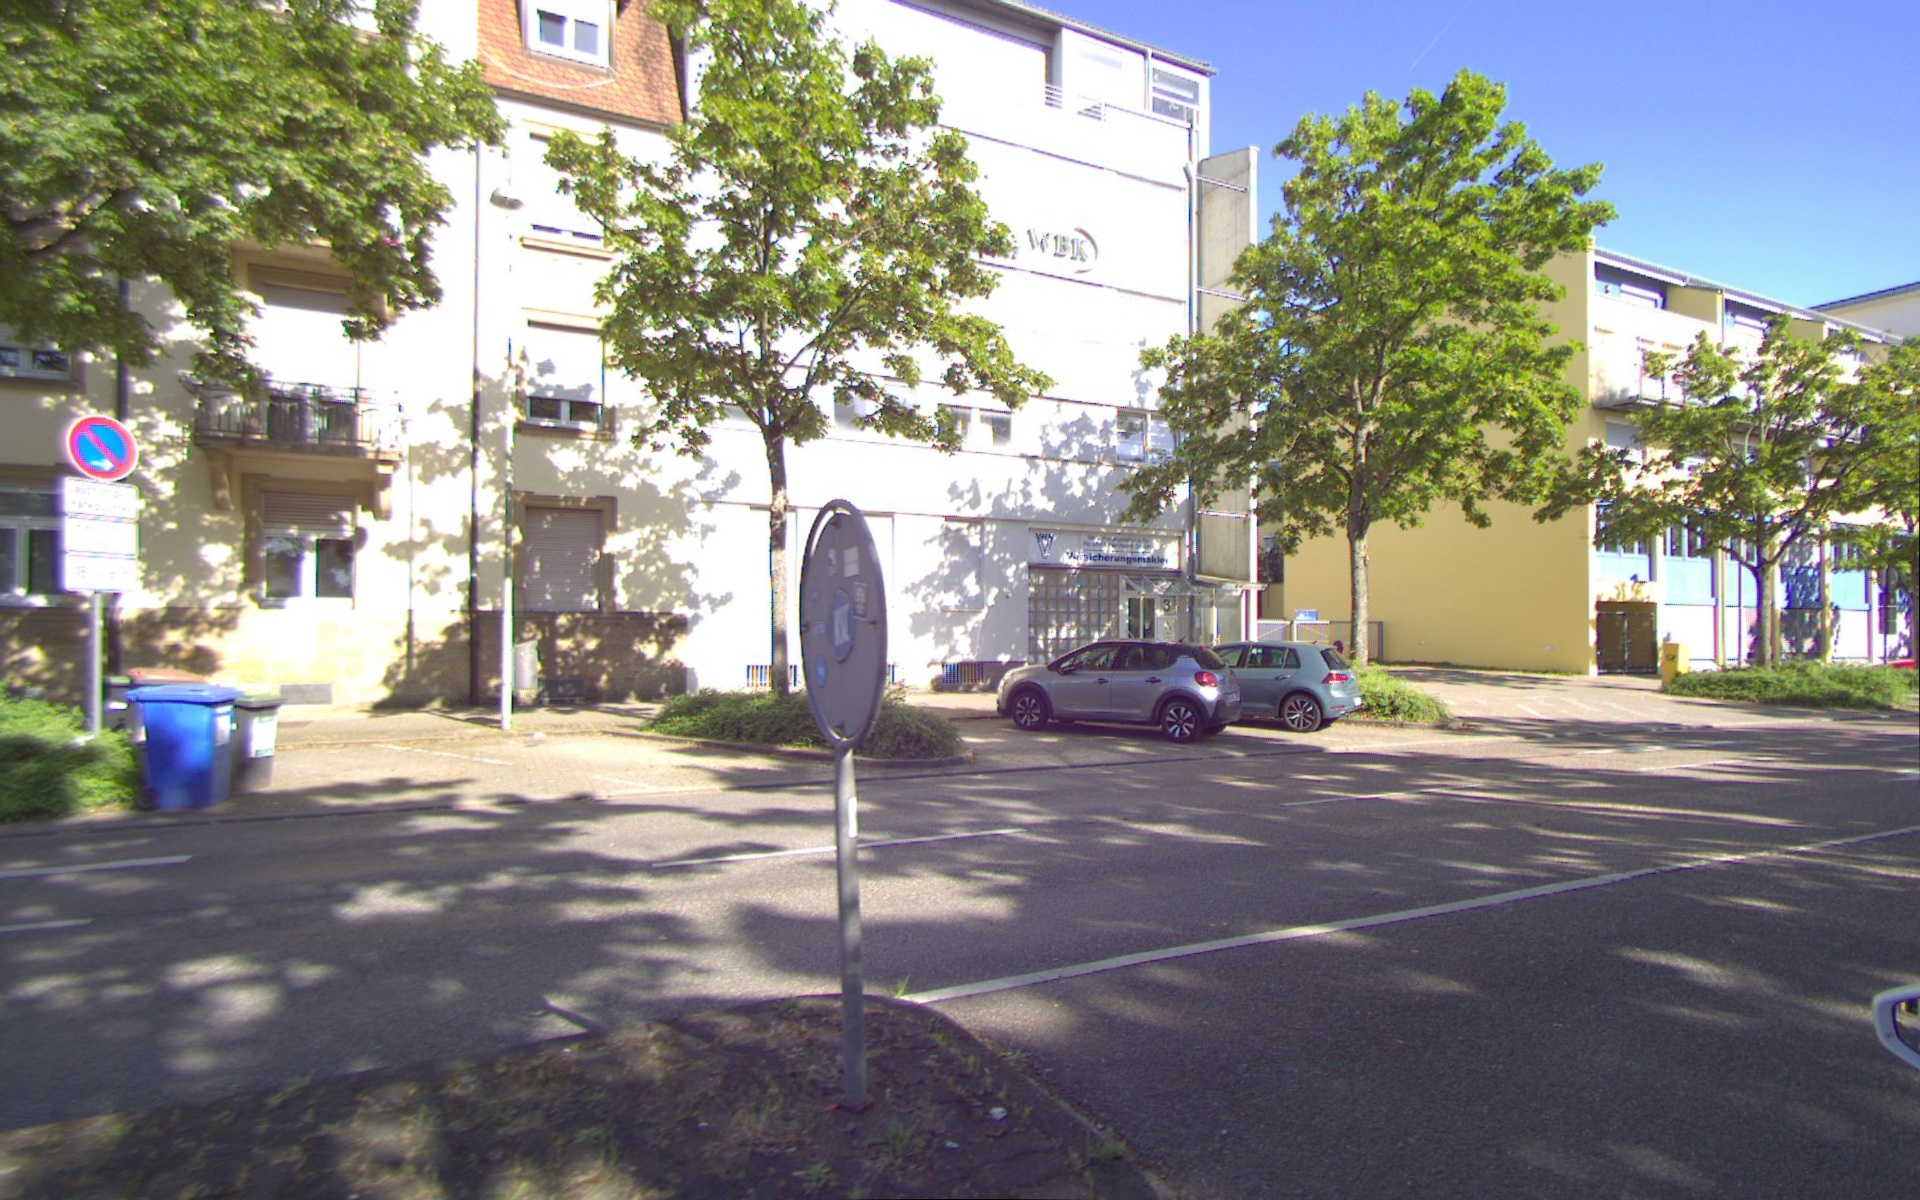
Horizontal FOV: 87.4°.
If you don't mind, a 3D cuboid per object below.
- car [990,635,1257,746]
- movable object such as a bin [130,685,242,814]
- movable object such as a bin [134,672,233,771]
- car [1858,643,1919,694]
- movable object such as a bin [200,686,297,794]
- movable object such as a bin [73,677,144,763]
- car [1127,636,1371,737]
[{"bbox_3d":[2.601,1.358,16.108,3.817,1.530,1.825,0,-2,31],"label":"car"},{"bbox_3d":[-6.900,1.314,8.981,0.628,1.061,0.513,1,-1,-18],"label":"movable object such as a bin"},{"bbox_3d":[-7.813,1.208,10.122,0.628,0.925,0.513,1,-1,-18],"label":"movable object such as a bin"},{"bbox_3d":[30.913,2.136,31.196,4.353,1.572,1.914,-2,-3,38],"label":"car"},{"bbox_3d":[-6.982,1.356,9.875,0.628,0.989,0.513,1,-1,-18],"label":"movable object such as a bin"},{"bbox_3d":[-9.052,1.264,10.687,0.432,0.865,0.403,1,-1,-18],"label":"movable object such as a bin"},{"bbox_3d":[5.082,1.442,17.758,3.818,1.530,1.824,0,-2,31],"label":"car"}]
